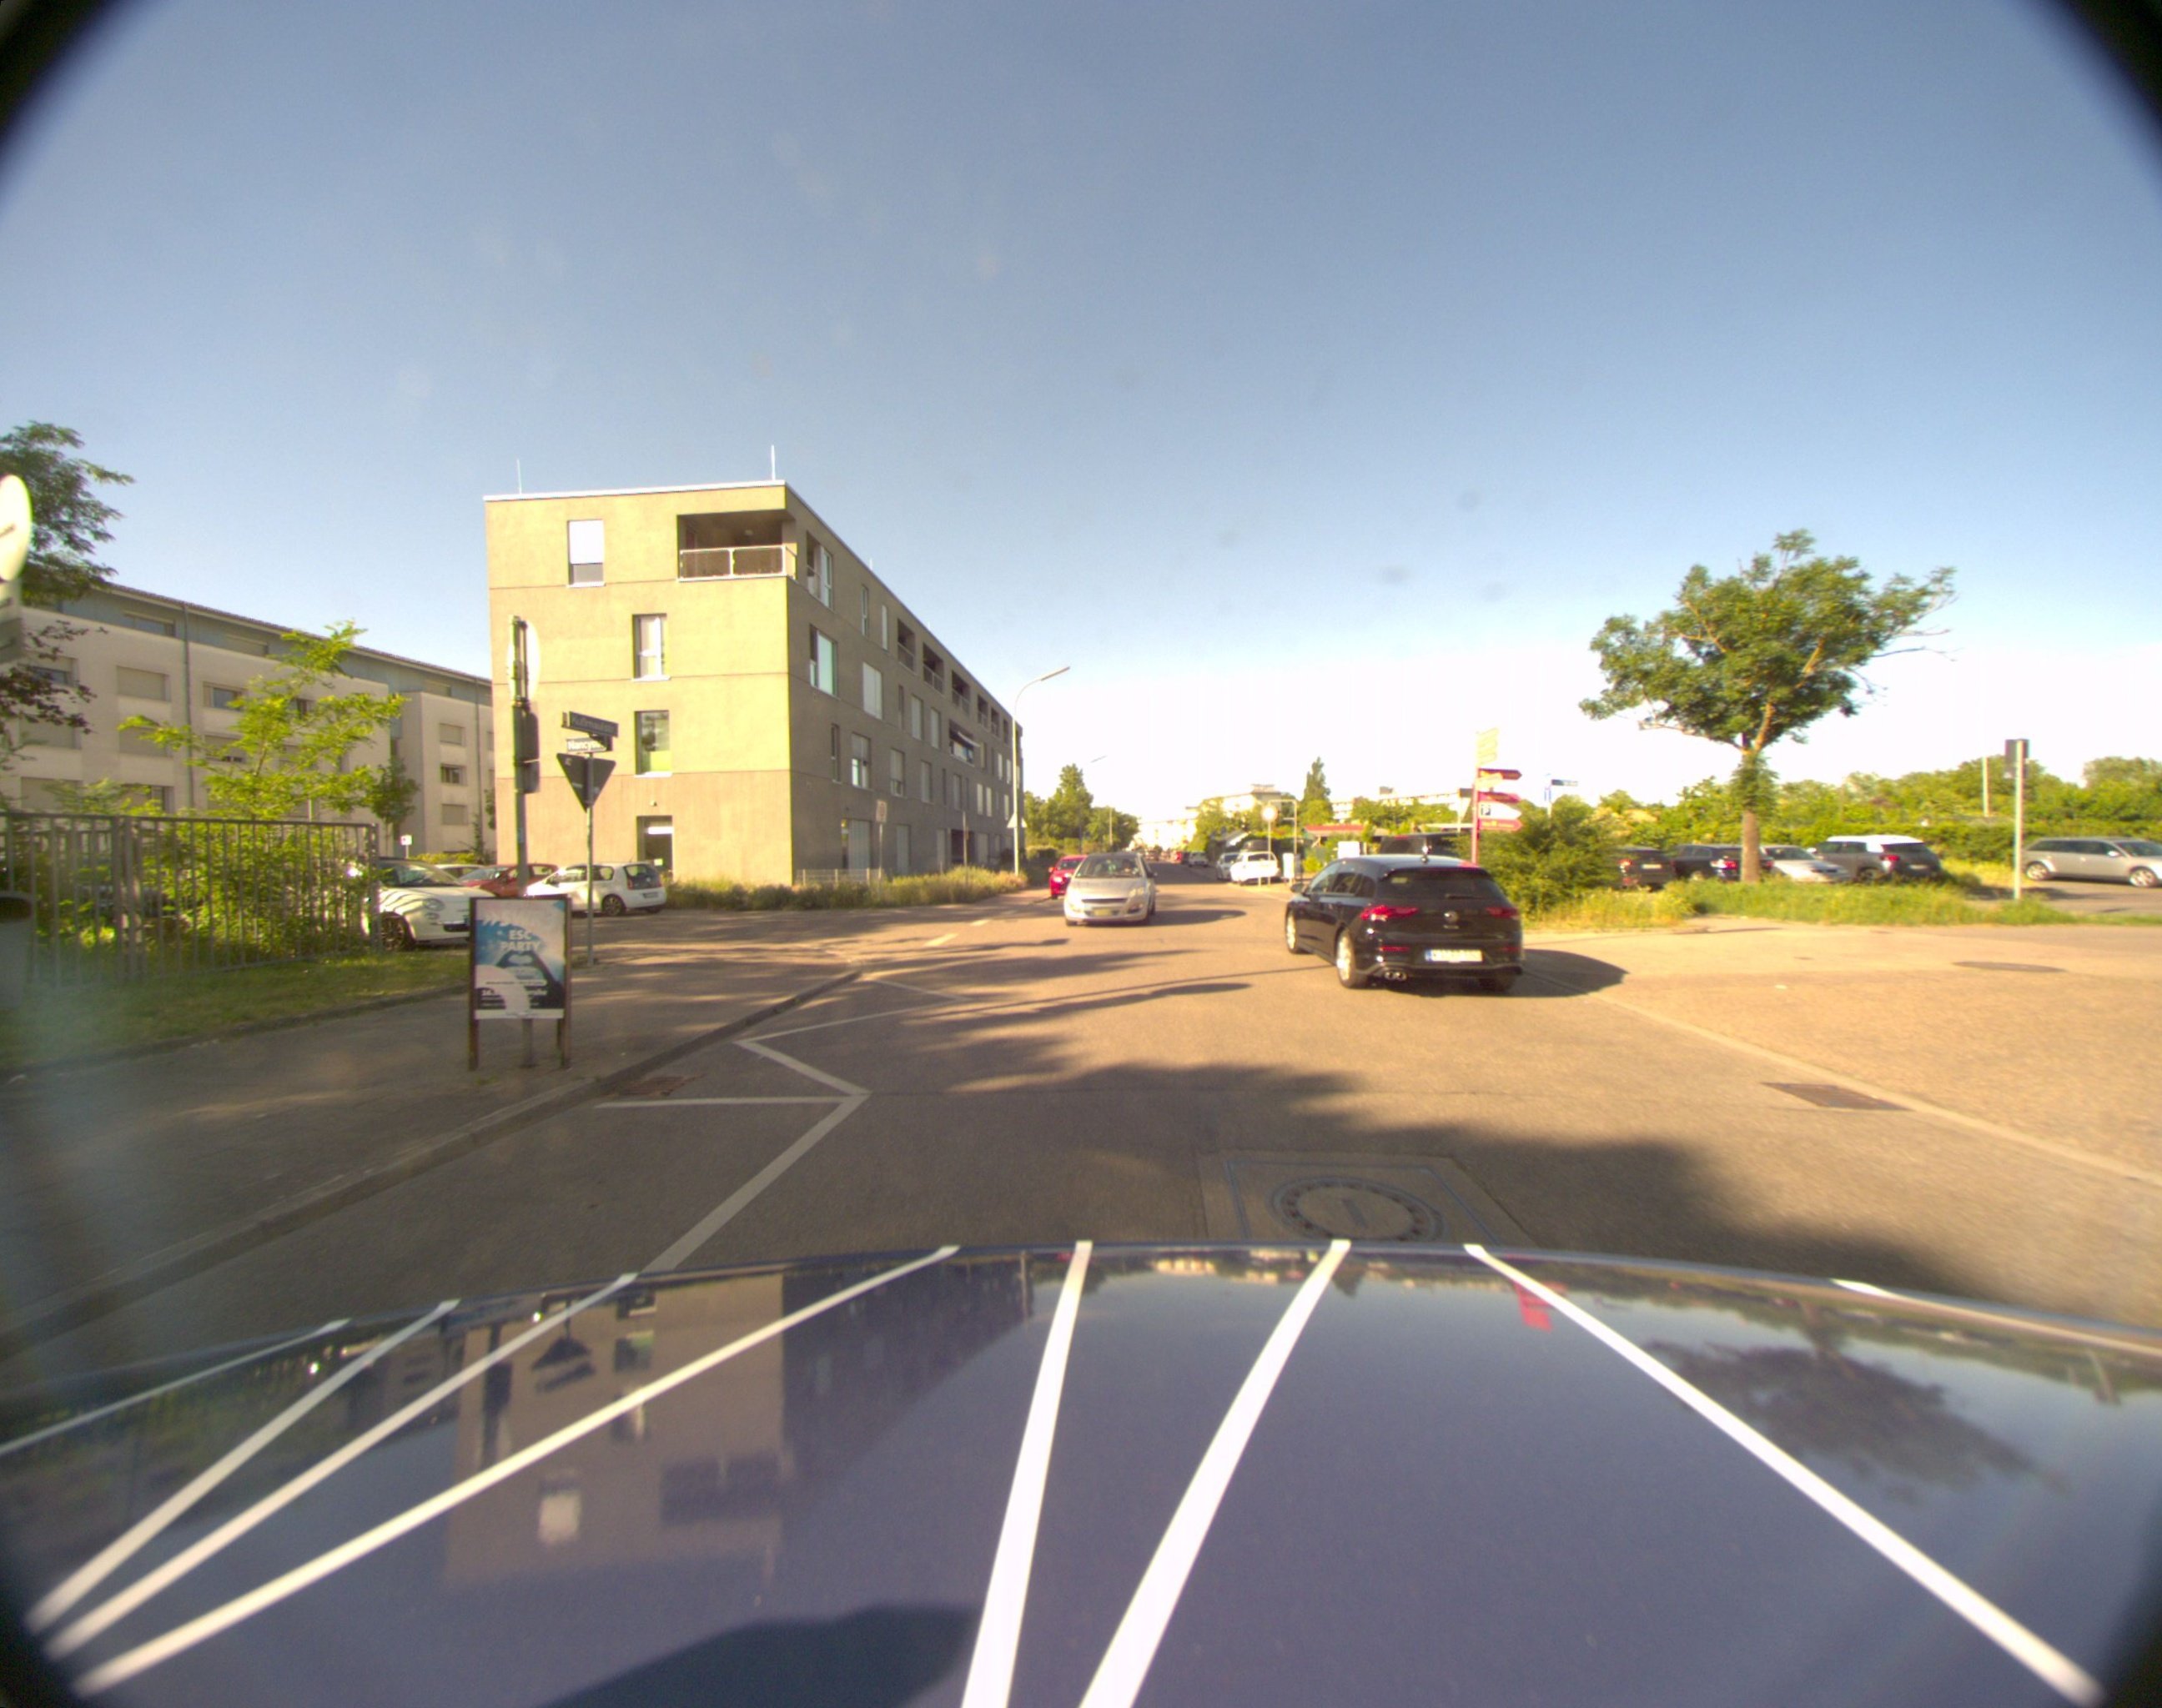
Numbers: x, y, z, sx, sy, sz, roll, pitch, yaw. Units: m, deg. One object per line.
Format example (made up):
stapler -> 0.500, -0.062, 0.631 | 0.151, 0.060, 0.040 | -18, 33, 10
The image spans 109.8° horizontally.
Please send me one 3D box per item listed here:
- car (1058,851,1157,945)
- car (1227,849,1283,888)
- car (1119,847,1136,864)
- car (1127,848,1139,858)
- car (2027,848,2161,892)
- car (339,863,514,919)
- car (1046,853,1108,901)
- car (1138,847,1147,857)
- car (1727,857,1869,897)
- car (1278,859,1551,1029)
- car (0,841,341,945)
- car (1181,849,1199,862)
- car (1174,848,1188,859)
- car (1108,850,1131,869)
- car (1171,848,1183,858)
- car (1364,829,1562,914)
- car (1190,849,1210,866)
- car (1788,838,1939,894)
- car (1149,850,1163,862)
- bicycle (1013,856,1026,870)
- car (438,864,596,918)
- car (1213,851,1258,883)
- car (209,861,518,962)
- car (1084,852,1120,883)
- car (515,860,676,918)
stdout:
car -> 0.662, 0.781, 15.651 | 1.678, 1.441, 4.000 | 2, 3, 6
car -> 7.654, 0.600, 33.713 | 1.699, 1.504, 4.518 | -3, 0, 5
car -> 5.157, 0.134, 84.129 | 1.710, 1.695, 4.350 | -3, 0, 4
car -> 8.577, -0.186, 124.377 | 1.872, 1.517, 4.156 | -1, 1, 6
car -> 32.191, 0.490, 23.365 | 1.509, 1.257, 3.846 | 2, 1, 4
car -> -19.938, 1.062, 23.401 | 1.696, 1.511, 4.001 | 0, 0, 5
car -> -0.052, 0.757, 27.231 | 1.823, 1.491, 4.453 | -2, 0, 4
car -> 13.109, -0.479, 161.412 | 1.998, 2.002, 4.001 | 0, 1, 5
car -> 22.968, 0.709, 24.542 | 1.508, 1.145, 3.849 | -1, 0, 11
car -> 3.638, 0.856, 9.148 | 1.707, 1.443, 4.087 | 1, 1, 4
car -> -15.396, 0.598, 12.910 | 4.161, 1.627, 1.756 | 0, 1, 6
car -> 12.395, 0.139, 86.937 | 1.699, 1.415, 4.518 | -3, 0, 5
car -> 13.843, -0.100, 105.253 | 1.699, 1.421, 4.387 | -1, 0, 5
car -> 3.341, 0.454, 64.799 | 1.710, 1.517, 4.156 | -2, 0, 6
car -> 14.527, -0.157, 115.106 | 1.699, 1.361, 3.911 | -1, 0, 5
car -> 9.958, 0.381, 19.686 | 5.262, 1.856, 1.957 | -3, 0, -30
car -> 10.843, 0.316, 69.480 | 1.531, 1.479, 3.402 | -1, 1, 5
car -> 25.402, 0.344, 24.856 | 1.508, 1.685, 3.849 | -1, 0, 11
car -> 10.809, 0.231, 109.419 | 1.946, 1.717, 4.840 | 0, 0, 6
bicycle -> -4.738, 0.692, 58.247 | 0.553, 1.055, 1.843 | -1, 1, 9
car -> -17.403, 1.071, 23.725 | 1.696, 1.461, 4.001 | 0, 0, 5
car -> 8.126, 0.643, 40.324 | 1.751, 1.437, 4.542 | -4, 0, 5
car -> -11.232, 0.861, 12.031 | 3.554, 1.477, 1.601 | -1, 0, 6
car -> 1.271, 0.708, 43.869 | 1.821, 1.590, 4.628 | -3, 0, 4
car -> -13.039, 0.921, 20.490 | 3.332, 1.450, 1.716 | -1, 1, 10
